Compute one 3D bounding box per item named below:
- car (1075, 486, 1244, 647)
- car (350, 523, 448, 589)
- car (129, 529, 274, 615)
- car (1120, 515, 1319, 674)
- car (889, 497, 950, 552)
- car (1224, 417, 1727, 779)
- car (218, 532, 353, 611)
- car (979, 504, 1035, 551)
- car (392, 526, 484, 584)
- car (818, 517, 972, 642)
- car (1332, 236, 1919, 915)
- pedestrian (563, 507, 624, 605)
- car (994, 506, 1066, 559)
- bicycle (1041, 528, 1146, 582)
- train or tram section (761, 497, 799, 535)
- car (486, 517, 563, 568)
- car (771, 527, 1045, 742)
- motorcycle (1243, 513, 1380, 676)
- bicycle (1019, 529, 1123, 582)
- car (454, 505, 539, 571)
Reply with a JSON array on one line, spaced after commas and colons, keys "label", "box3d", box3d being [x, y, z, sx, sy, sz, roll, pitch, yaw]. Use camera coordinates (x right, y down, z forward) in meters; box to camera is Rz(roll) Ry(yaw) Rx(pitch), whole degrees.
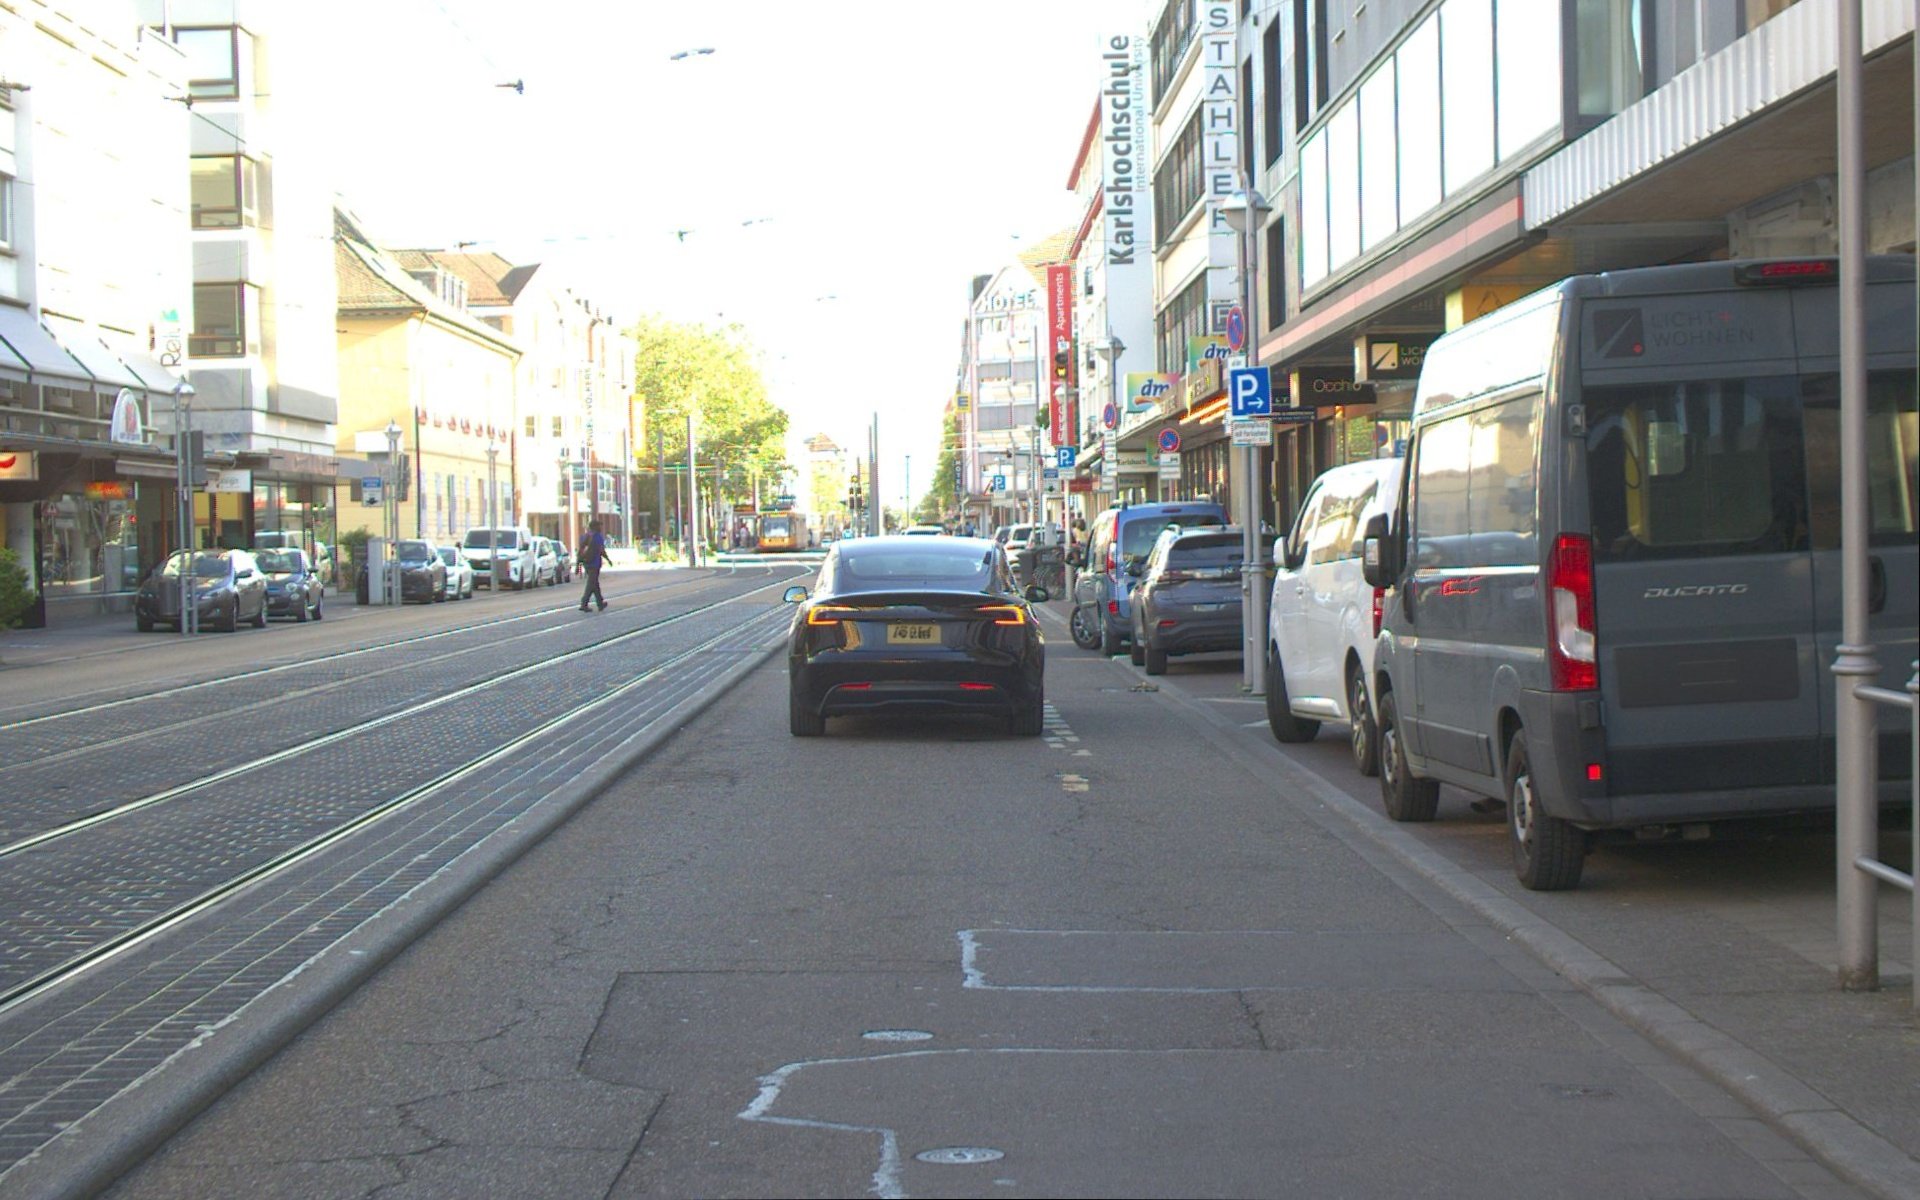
[{"label": "car", "box3d": [2.396, -0.448, 42.044, 1.821, 1.864, 3.754, -1, 2, 0]}, {"label": "car", "box3d": [-14.229, -1.134, 87.331, 1.718, 1.566, 3.849, -1, 1, 2]}, {"label": "car", "box3d": [-14.064, -0.542, 63.962, 1.770, 1.503, 3.864, -1, 1, 1]}, {"label": "car", "box3d": [2.656, -0.103, 35.912, 1.751, 1.494, 3.754, -2, 2, 0]}, {"label": "car", "box3d": [-1.398, -2.646, 120.225, 2.085, 1.864, 3.754, -1, 2, 0]}, {"label": "car", "box3d": [3.147, -0.077, 22.078, 2.158, 1.920, 4.618, -4, 2, -3]}, {"label": "car", "box3d": [-13.724, -0.605, 70.098, 1.770, 1.503, 3.860, -1, 1, 3]}, {"label": "car", "box3d": [1.775, -2.763, 131.416, 1.993, 1.747, 4.000, -1, 1, -1]}, {"label": "car", "box3d": [-14.135, -1.240, 93.274, 1.770, 1.503, 3.972, -1, 1, 2]}, {"label": "car", "box3d": [-0.814, -0.266, 42.277, 1.761, 1.414, 4.355, -1, 1, -1]}, {"label": "car", "box3d": [3.167, -0.185, 15.493, 2.171, 2.453, 5.362, -3, 2, -1]}, {"label": "pedestrian", "box3d": [-7.005, -0.840, 65.794, 0.772, 1.842, 0.827, -1, 1, 30]}, {"label": "car", "box3d": [2.075, -2.007, 102.924, 1.993, 1.537, 4.000, -1, 1, -1]}, {"label": "bicycle", "box3d": [2.850, -0.963, 73.231, 2.159, 1.093, 0.686, -1, 1, -3]}, {"label": "train or tram section", "box3d": [-12.946, -6.077, 247.891, 1.994, 2.625, 6.801, -1, 2, 3]}, {"label": "car", "box3d": [-14.368, -1.910, 113.597, 1.988, 1.608, 4.274, -1, 1, 0]}, {"label": "car", "box3d": [-0.362, 0.192, 25.860, 1.869, 1.422, 4.365, -1, 2, 0]}, {"label": "motorcycle", "box3d": [3.087, -0.062, 30.467, 0.813, 1.311, 2.633, -5, 1, 0]}, {"label": "bicycle", "box3d": [2.386, -0.959, 74.117, 2.159, 1.093, 0.686, -1, 1, -3]}, {"label": "car", "box3d": [-14.352, -1.937, 106.643, 2.009, 1.954, 4.725, -1, 1, -1]}]
